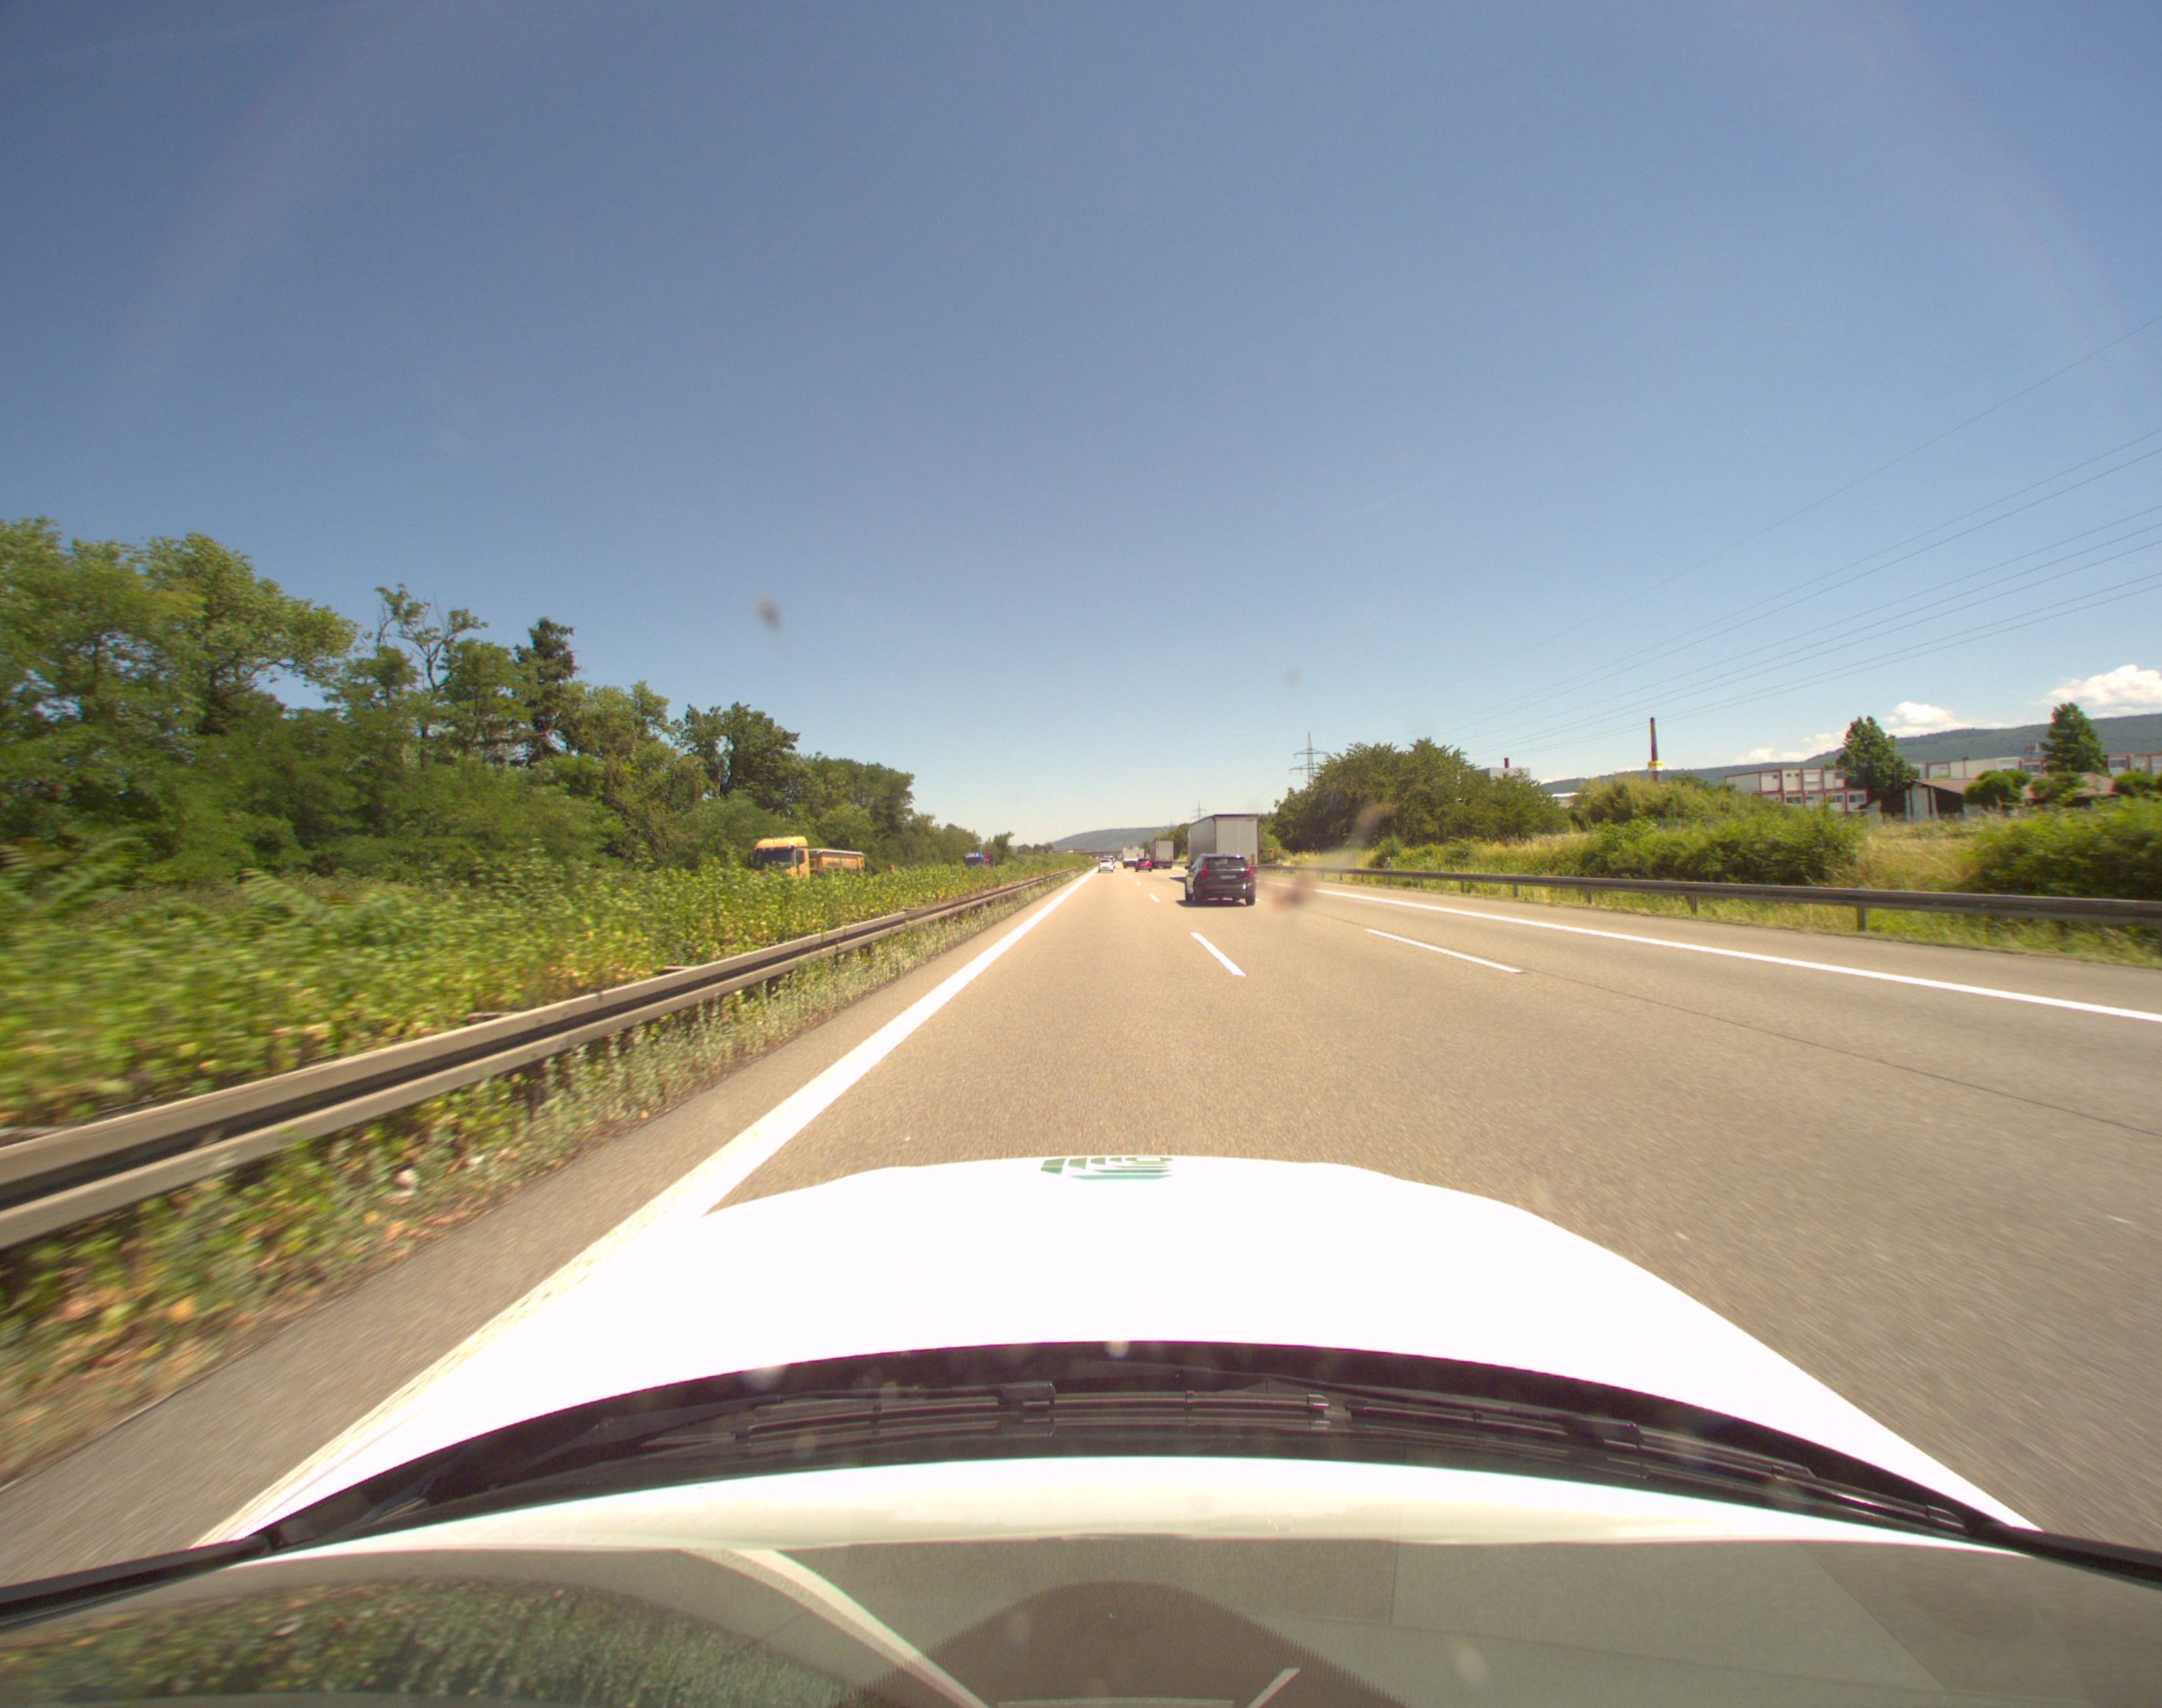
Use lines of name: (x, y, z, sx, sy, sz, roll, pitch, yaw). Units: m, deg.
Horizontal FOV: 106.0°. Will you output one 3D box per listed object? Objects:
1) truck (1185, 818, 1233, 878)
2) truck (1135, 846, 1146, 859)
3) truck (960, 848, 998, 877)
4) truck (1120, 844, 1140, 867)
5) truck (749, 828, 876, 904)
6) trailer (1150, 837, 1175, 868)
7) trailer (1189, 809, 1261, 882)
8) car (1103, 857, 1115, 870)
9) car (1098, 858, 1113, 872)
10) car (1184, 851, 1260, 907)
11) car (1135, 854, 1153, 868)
truck: (9.390, -0.400, 60.299, 2.725, 4.120, 6.127, -1, 0, 2)
truck: (14.931, -0.321, 204.330, 2.213, 3.209, 10.389, -2, 0, 2)
truck: (-13.168, 1.058, 105.921, 2.777, 3.432, 11.986, -4, 0, 2)
truck: (7.615, 0.220, 126.680, 2.772, 3.373, 8.130, -1, -1, 2)
truck: (-15.337, 0.638, 47.843, 2.888, 3.706, 11.904, -4, 0, 2)
trailer: (11.643, -0.138, 117.535, 2.778, 4.164, 13.582, -2, -1, 2)
trailer: (9.136, -0.443, 53.320, 2.725, 4.106, 13.127, -1, 0, 2)
car: (4.231, 1.399, 123.161, 1.754, 1.850, 4.001, -2, 0, 1)
car: (2.705, 1.200, 91.287, 1.601, 1.468, 4.001, -2, 0, 1)
car: (4.491, 0.761, 26.517, 1.867, 1.623, 4.005, -1, 0, 1)
car: (7.080, 0.765, 91.603, 1.796, 1.545, 4.002, -1, 0, 2)
